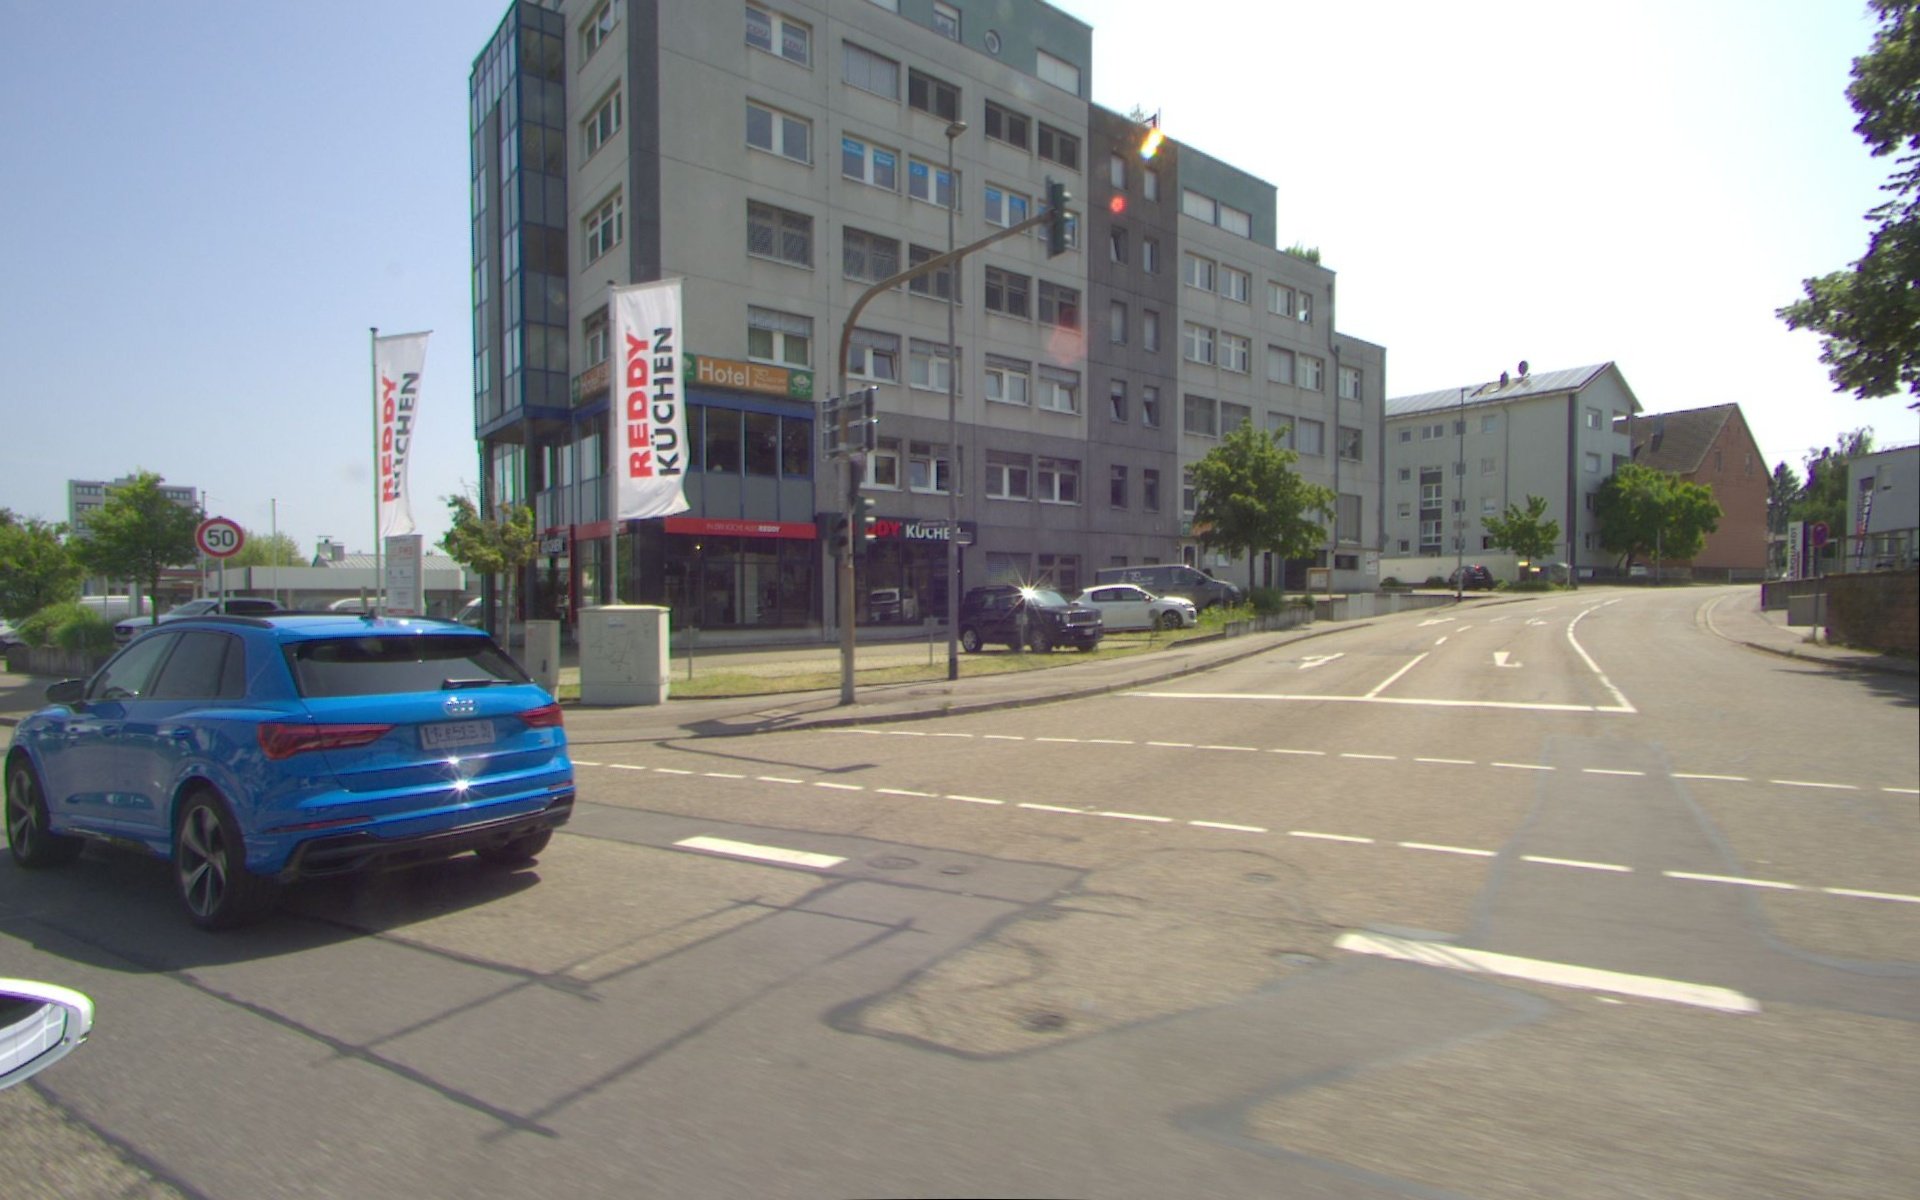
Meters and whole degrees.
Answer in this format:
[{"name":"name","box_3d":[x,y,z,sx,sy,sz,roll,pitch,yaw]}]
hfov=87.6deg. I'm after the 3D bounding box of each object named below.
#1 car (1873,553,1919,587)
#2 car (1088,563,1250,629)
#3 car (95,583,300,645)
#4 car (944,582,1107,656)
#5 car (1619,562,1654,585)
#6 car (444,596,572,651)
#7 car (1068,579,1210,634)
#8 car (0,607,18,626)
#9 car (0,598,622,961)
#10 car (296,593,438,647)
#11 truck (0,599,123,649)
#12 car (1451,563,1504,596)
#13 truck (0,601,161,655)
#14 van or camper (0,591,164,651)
[{"name":"car","box_3d":[42.997,-1.327,44.005,1.961,1.476,4.174,0,2,1]},{"name":"car","box_3d":[6.804,-0.095,33.100,5.092,2.062,1.892,0,-2,8]},{"name":"car","box_3d":[-23.419,0.492,31.014,1.966,1.735,4.731,-1,-2,21]},{"name":"car","box_3d":[1.562,0.486,25.208,1.527,1.697,4.292,0,-1,-41]},{"name":"car","box_3d":[52.728,-2.029,78.044,1.704,1.528,3.919,-2,-3,42]},{"name":"car","box_3d":[-24.471,1.320,54.384,6.073,2.845,1.982,1,-2,-42]},{"name":"car","box_3d":[5.406,0.216,30.573,4.144,1.551,1.544,-1,-2,7]},{"name":"car","box_3d":[-87.252,1.480,91.442,1.655,1.617,4.568,-2,2,-43]},{"name":"car","box_3d":[-4.372,0.856,6.476,4.334,1.617,1.909,-1,-1,34]},{"name":"car","box_3d":[-29.615,1.019,50.154,5.841,2.560,2.102,1,-2,-41]},{"name":"truck","box_3d":[-48.940,1.258,54.372,5.208,2.469,2.092,-2,2,-42]},{"name":"car","box_3d":[30.821,-1.201,59.749,1.845,1.683,3.998,-1,-2,13]},{"name":"truck","box_3d":[-43.508,1.326,49.448,6.199,2.368,2.346,-2,2,-42]},{"name":"van or camper","box_3d":[-46.470,1.030,52.843,6.751,2.937,2.253,-1,1,-44]}]
